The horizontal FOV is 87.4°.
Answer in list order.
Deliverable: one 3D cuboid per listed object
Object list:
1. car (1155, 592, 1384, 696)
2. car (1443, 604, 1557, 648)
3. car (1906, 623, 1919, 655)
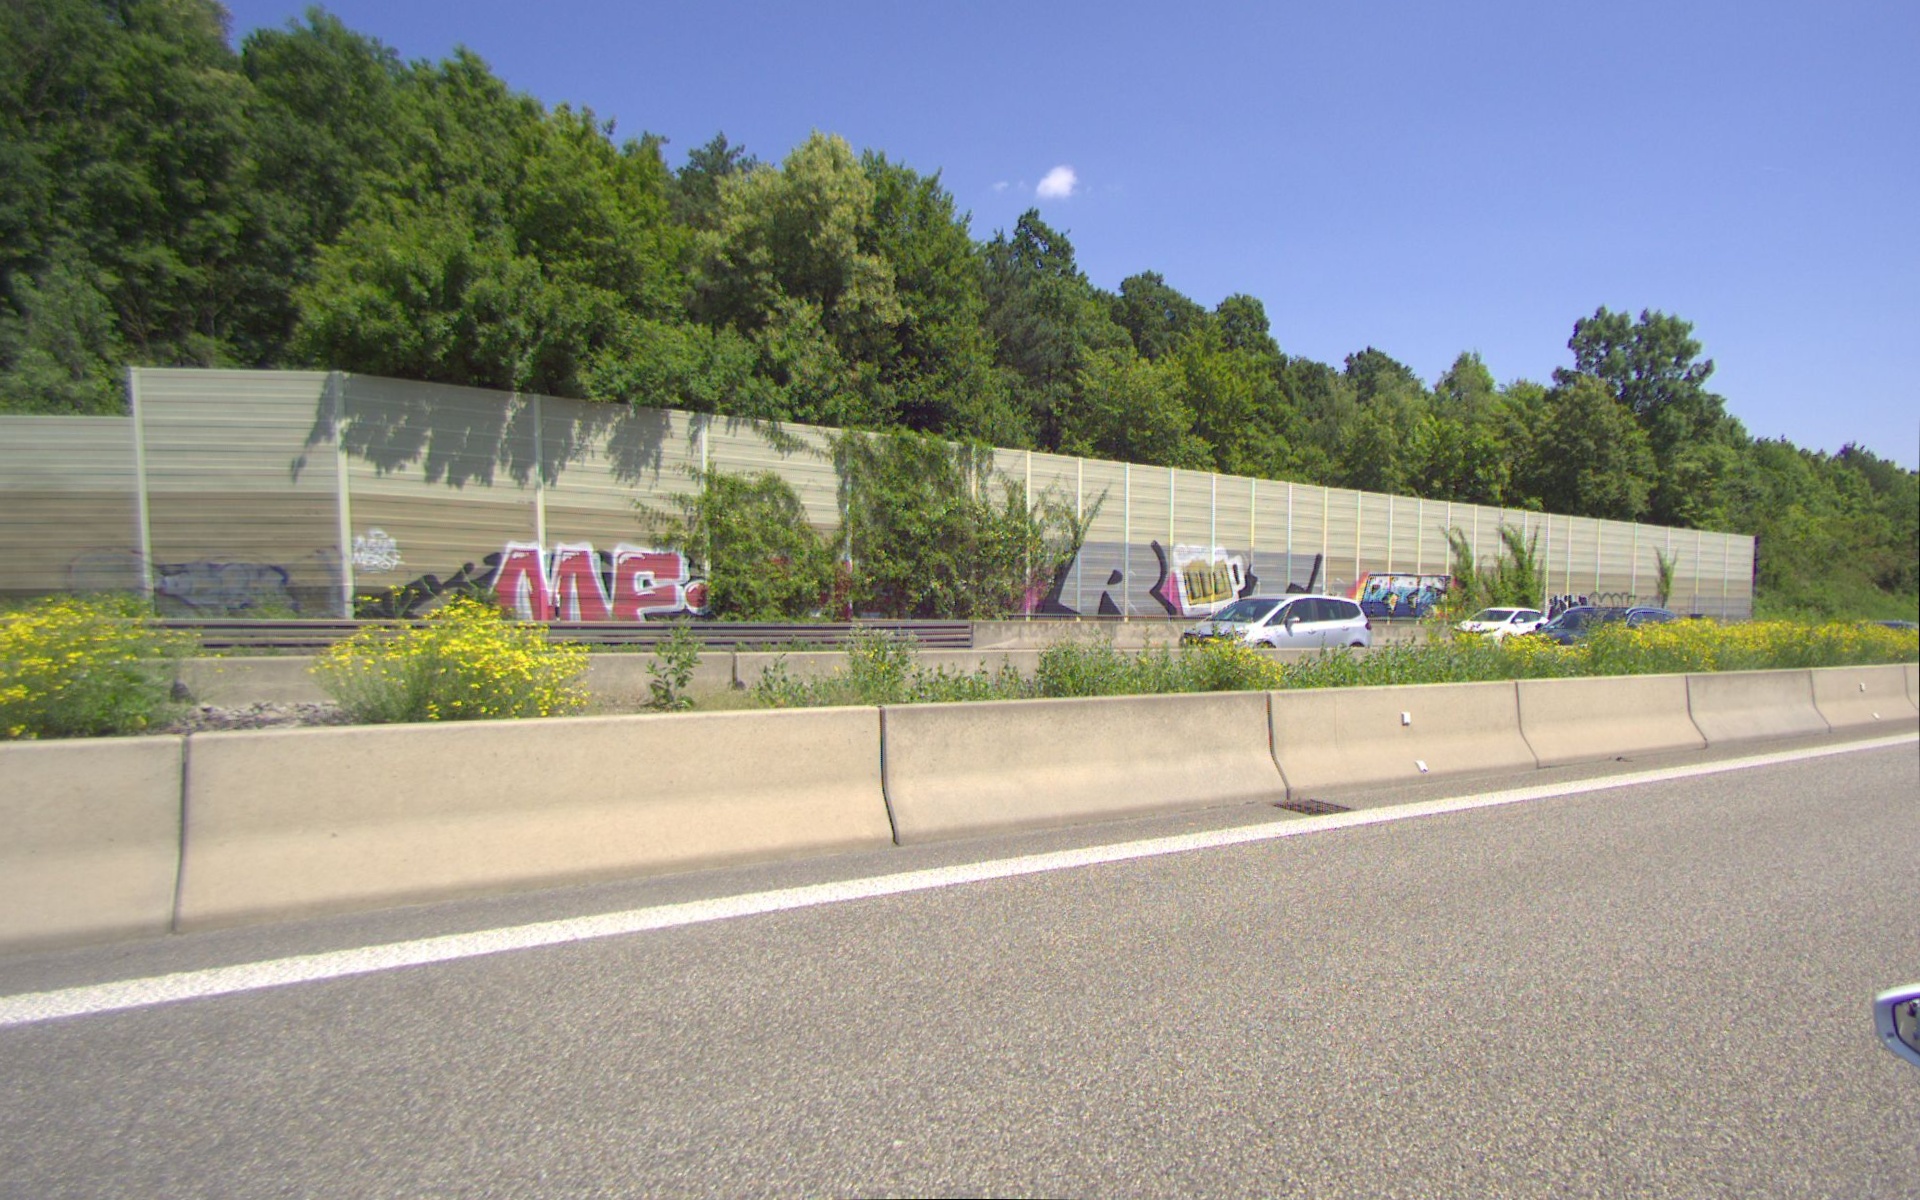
[{"bbox_3d":[6.372,0.869,20.601,4.453,1.924,1.984,2,0,-30],"label":"car"},{"bbox_3d":[19.504,0.938,36.242,4.262,1.502,1.622,1,0,-30],"label":"car"},{"bbox_3d":[52.589,2.129,53.792,4.140,1.662,1.730,2,0,-31],"label":"car"}]
